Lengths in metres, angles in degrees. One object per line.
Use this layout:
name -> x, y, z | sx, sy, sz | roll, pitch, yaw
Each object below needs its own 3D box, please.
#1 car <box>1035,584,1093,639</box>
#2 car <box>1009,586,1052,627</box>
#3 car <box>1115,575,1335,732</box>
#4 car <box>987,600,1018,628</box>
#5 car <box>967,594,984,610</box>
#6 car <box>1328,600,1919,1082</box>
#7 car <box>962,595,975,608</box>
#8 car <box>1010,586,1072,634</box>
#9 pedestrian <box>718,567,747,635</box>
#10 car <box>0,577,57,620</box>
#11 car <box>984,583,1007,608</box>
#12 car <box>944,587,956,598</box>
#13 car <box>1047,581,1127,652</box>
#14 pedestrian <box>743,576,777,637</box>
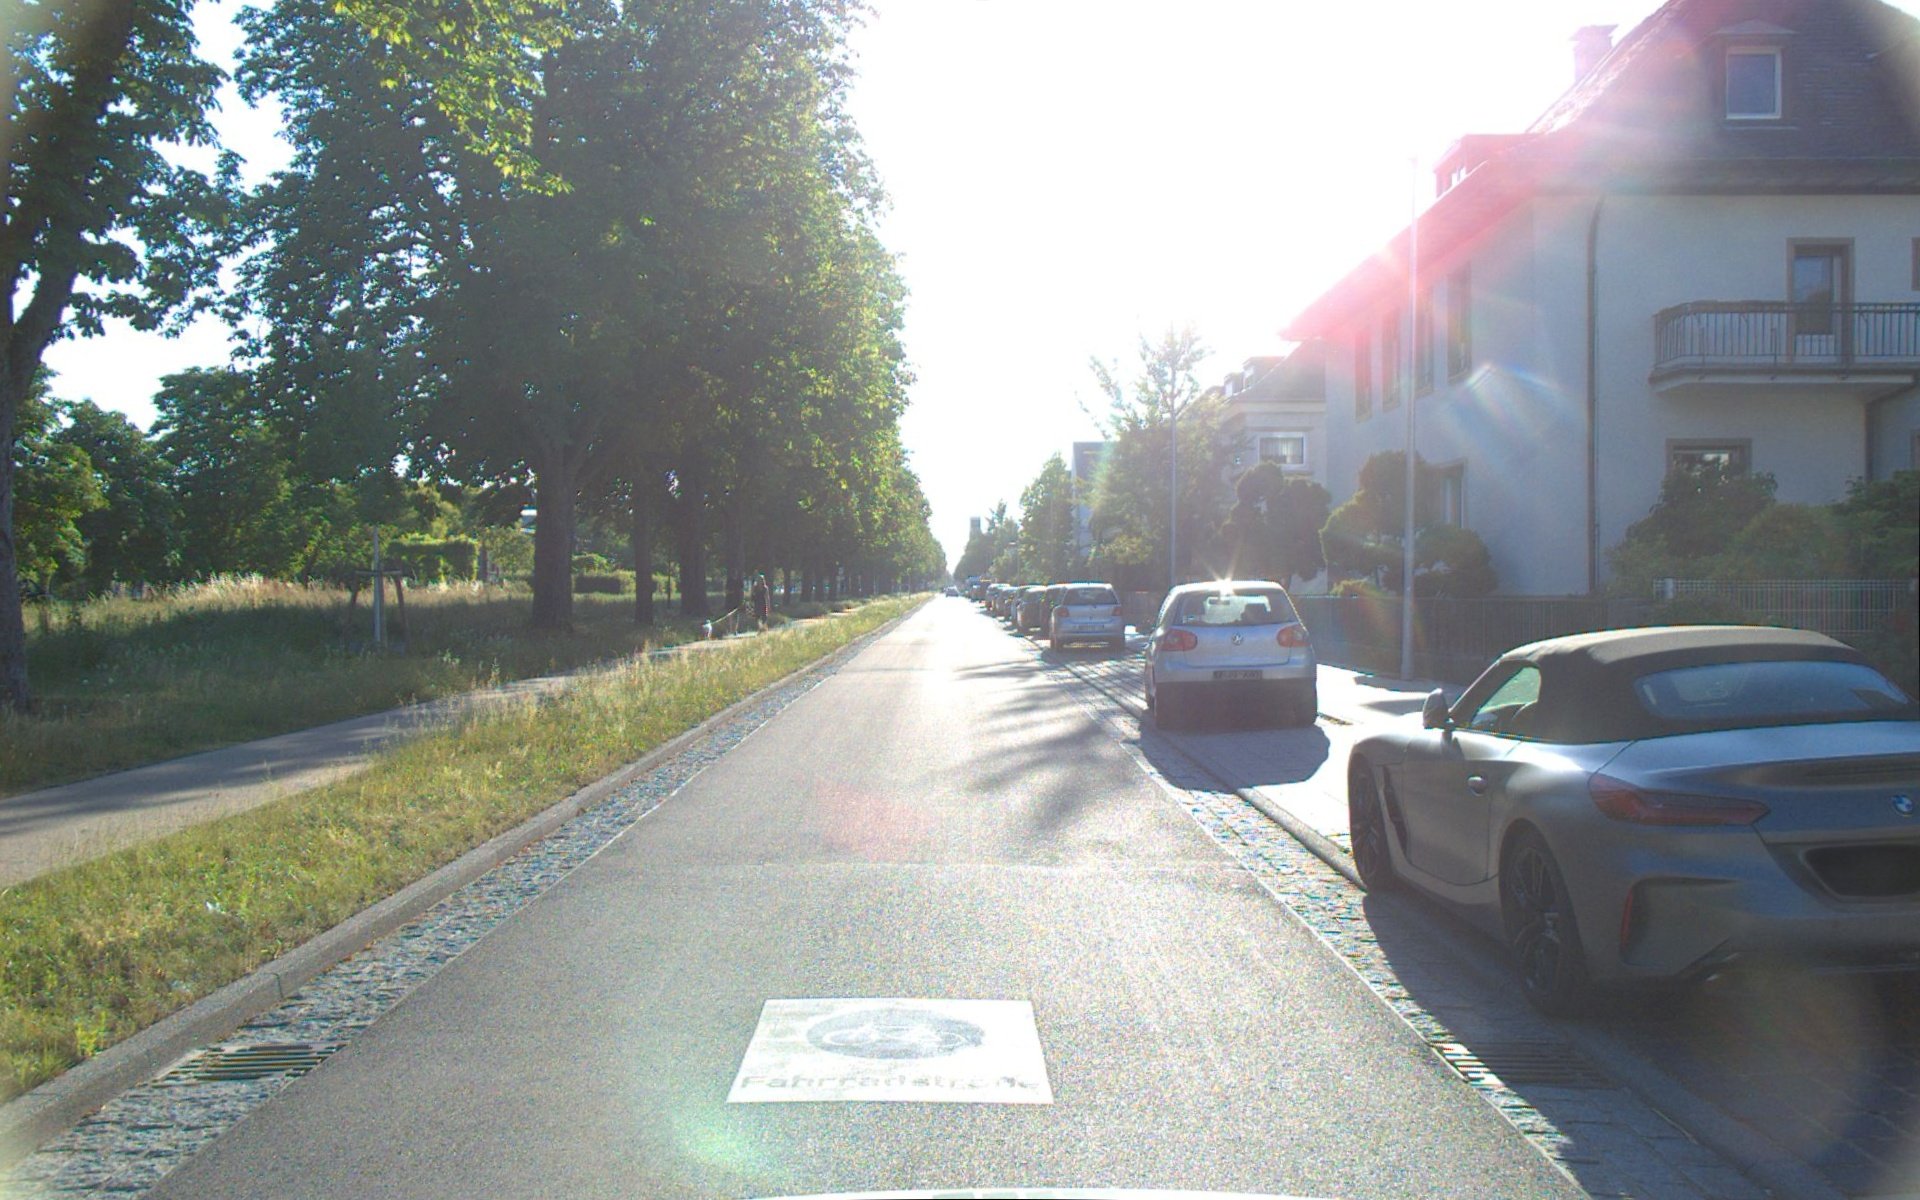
car -> 3.061, 0.331, 48.866 | 1.623, 1.520, 3.717 | -1, 0, 3
car -> 2.724, 0.250, 64.589 | 1.560, 1.536, 3.591 | 0, 0, 0
car -> 2.857, 0.533, 18.644 | 1.709, 1.500, 3.921 | -3, 0, -1
car -> 2.235, 0.731, 87.491 | 1.618, 1.421, 3.267 | 0, 0, 1
car -> 1.576, 0.201, 168.466 | 1.618, 1.568, 3.267 | 1, 0, 1
car -> 2.960, 0.732, 7.166 | 1.738, 1.311, 4.272 | -3, 1, 0
car -> 1.122, 0.155, 212.547 | 1.618, 1.568, 3.267 | 1, 0, 1
car -> 2.625, 0.332, 54.581 | 1.701, 1.474, 4.195 | -2, 0, -2
pedestrian -> -6.226, 0.022, 45.237 | 0.611, 1.863, 0.886 | 0, 0, 3
car -> -36.926, -0.077, 64.062 | 1.658, 1.625, 4.220 | 0, 0, -1
car -> 2.281, -0.293, 106.632 | 1.467, 1.594, 3.267 | 0, 0, 1
car -> -1.417, -1.085, 239.818 | 1.618, 1.568, 3.266 | 1, 0, 0
car -> 2.918, 0.355, 38.585 | 1.594, 1.531, 3.633 | -2, 1, 0
pedestrian -> -5.479, 0.167, 45.433 | 0.767, 1.643, 0.952 | 0, 0, 3
